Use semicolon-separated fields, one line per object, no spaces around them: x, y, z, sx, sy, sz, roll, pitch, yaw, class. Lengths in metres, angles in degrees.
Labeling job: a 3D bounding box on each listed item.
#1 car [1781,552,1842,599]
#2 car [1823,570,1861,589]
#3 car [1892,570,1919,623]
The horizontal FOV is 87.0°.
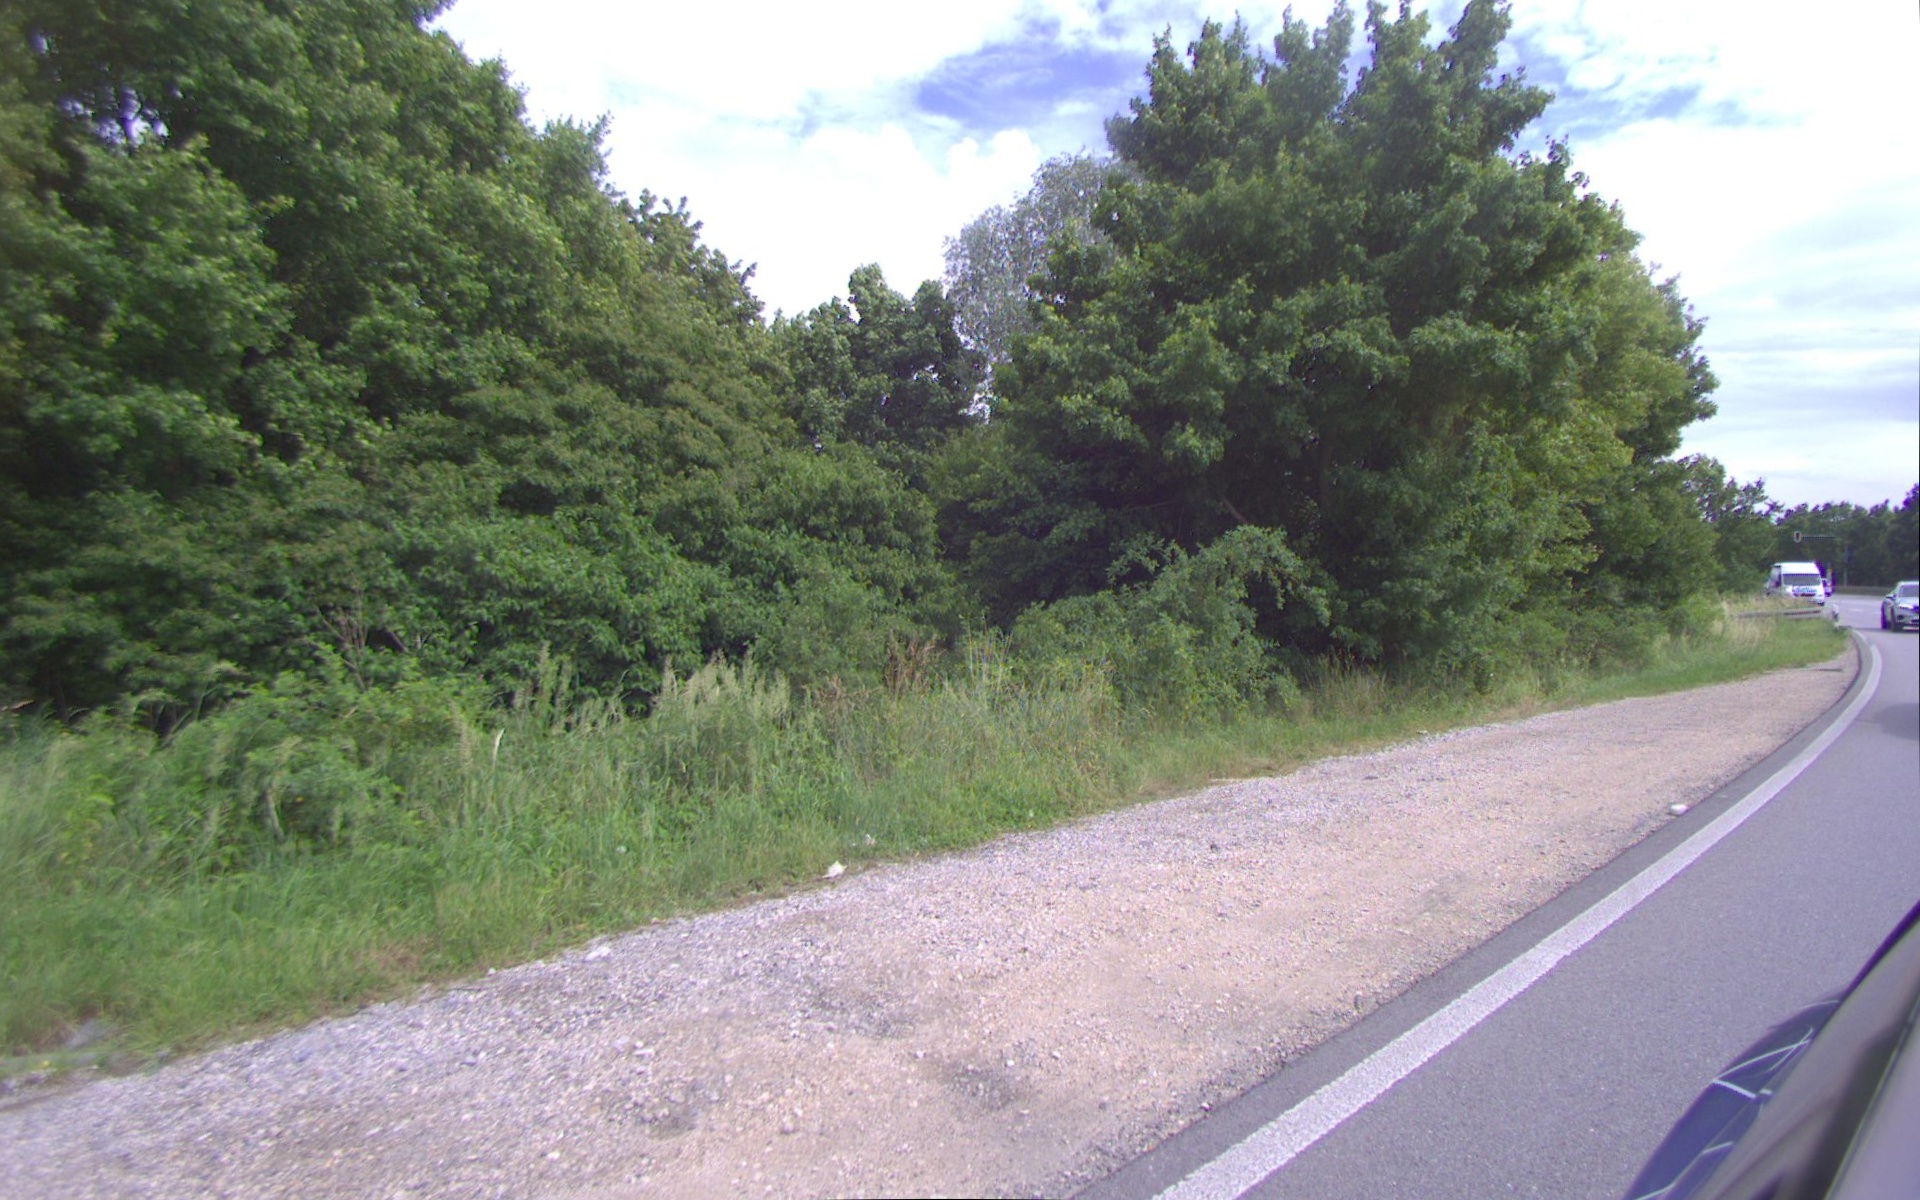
51.645;-1.418;61.502;2.205;2.704;5.175;-1;-1;34;car
74.713;-1.748;85.780;1.722;1.537;3.956;-1;1;31;car
31.584;-0.133;32.562;2.011;1.633;4.221;0;1;38;car
